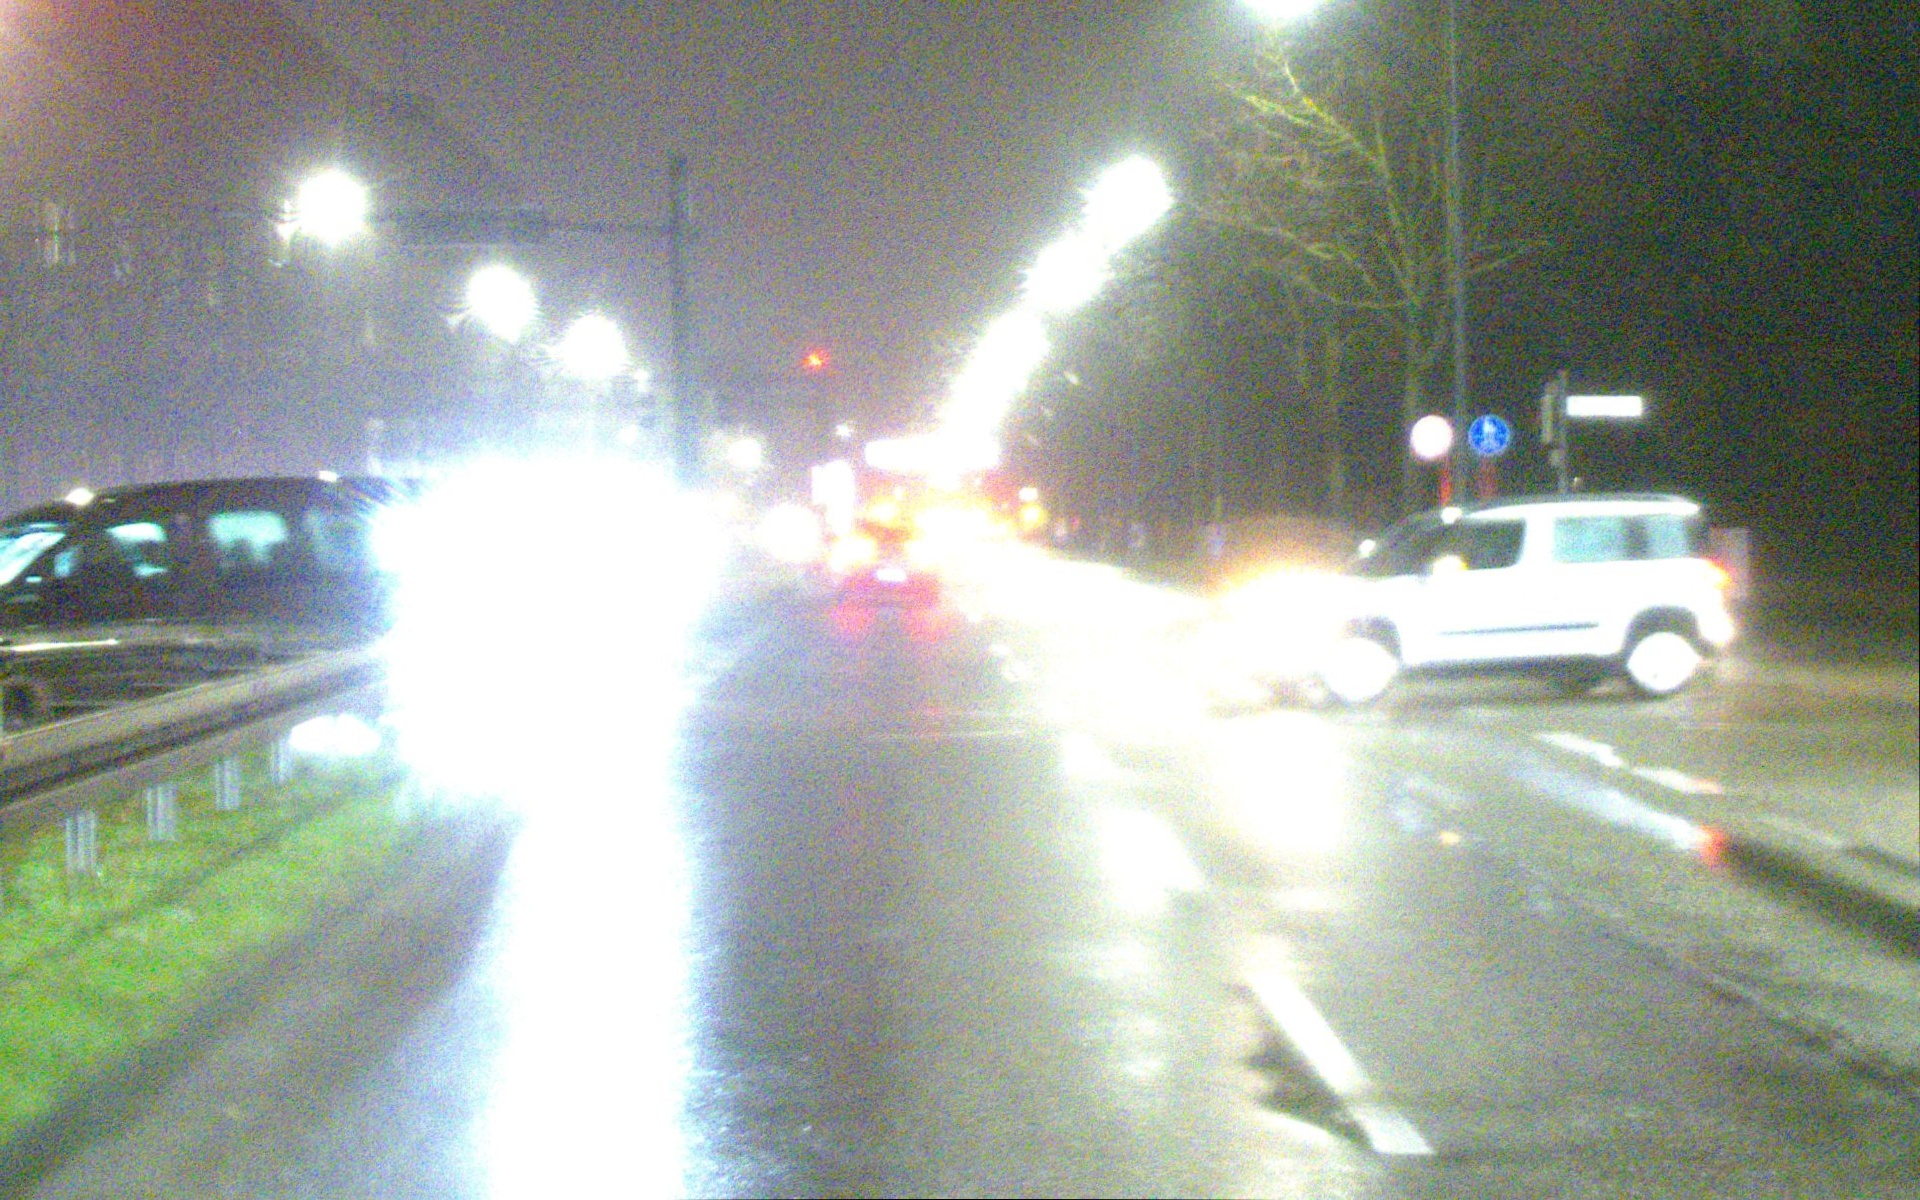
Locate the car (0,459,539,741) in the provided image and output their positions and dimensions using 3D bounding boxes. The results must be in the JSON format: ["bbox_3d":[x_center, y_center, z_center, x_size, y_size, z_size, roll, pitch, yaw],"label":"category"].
[{"bbox_3d":[-5.430,-0.009,22.713,4.903,1.735,1.971,0,1,-37],"label":"car"}]

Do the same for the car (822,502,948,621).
[{"bbox_3d":[-1.372,-0.680,60.805,1.993,2.007,4.633,1,1,-4],"label":"car"}]

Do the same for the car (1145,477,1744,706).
[{"bbox_3d":[3.880,-0.063,27.798,4.382,1.735,1.911,1,0,-13],"label":"car"}]

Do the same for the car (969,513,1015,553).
[{"bbox_3d":[1.433,-3.033,156.291,1.993,1.753,4.000,1,1,-1],"label":"car"}]
